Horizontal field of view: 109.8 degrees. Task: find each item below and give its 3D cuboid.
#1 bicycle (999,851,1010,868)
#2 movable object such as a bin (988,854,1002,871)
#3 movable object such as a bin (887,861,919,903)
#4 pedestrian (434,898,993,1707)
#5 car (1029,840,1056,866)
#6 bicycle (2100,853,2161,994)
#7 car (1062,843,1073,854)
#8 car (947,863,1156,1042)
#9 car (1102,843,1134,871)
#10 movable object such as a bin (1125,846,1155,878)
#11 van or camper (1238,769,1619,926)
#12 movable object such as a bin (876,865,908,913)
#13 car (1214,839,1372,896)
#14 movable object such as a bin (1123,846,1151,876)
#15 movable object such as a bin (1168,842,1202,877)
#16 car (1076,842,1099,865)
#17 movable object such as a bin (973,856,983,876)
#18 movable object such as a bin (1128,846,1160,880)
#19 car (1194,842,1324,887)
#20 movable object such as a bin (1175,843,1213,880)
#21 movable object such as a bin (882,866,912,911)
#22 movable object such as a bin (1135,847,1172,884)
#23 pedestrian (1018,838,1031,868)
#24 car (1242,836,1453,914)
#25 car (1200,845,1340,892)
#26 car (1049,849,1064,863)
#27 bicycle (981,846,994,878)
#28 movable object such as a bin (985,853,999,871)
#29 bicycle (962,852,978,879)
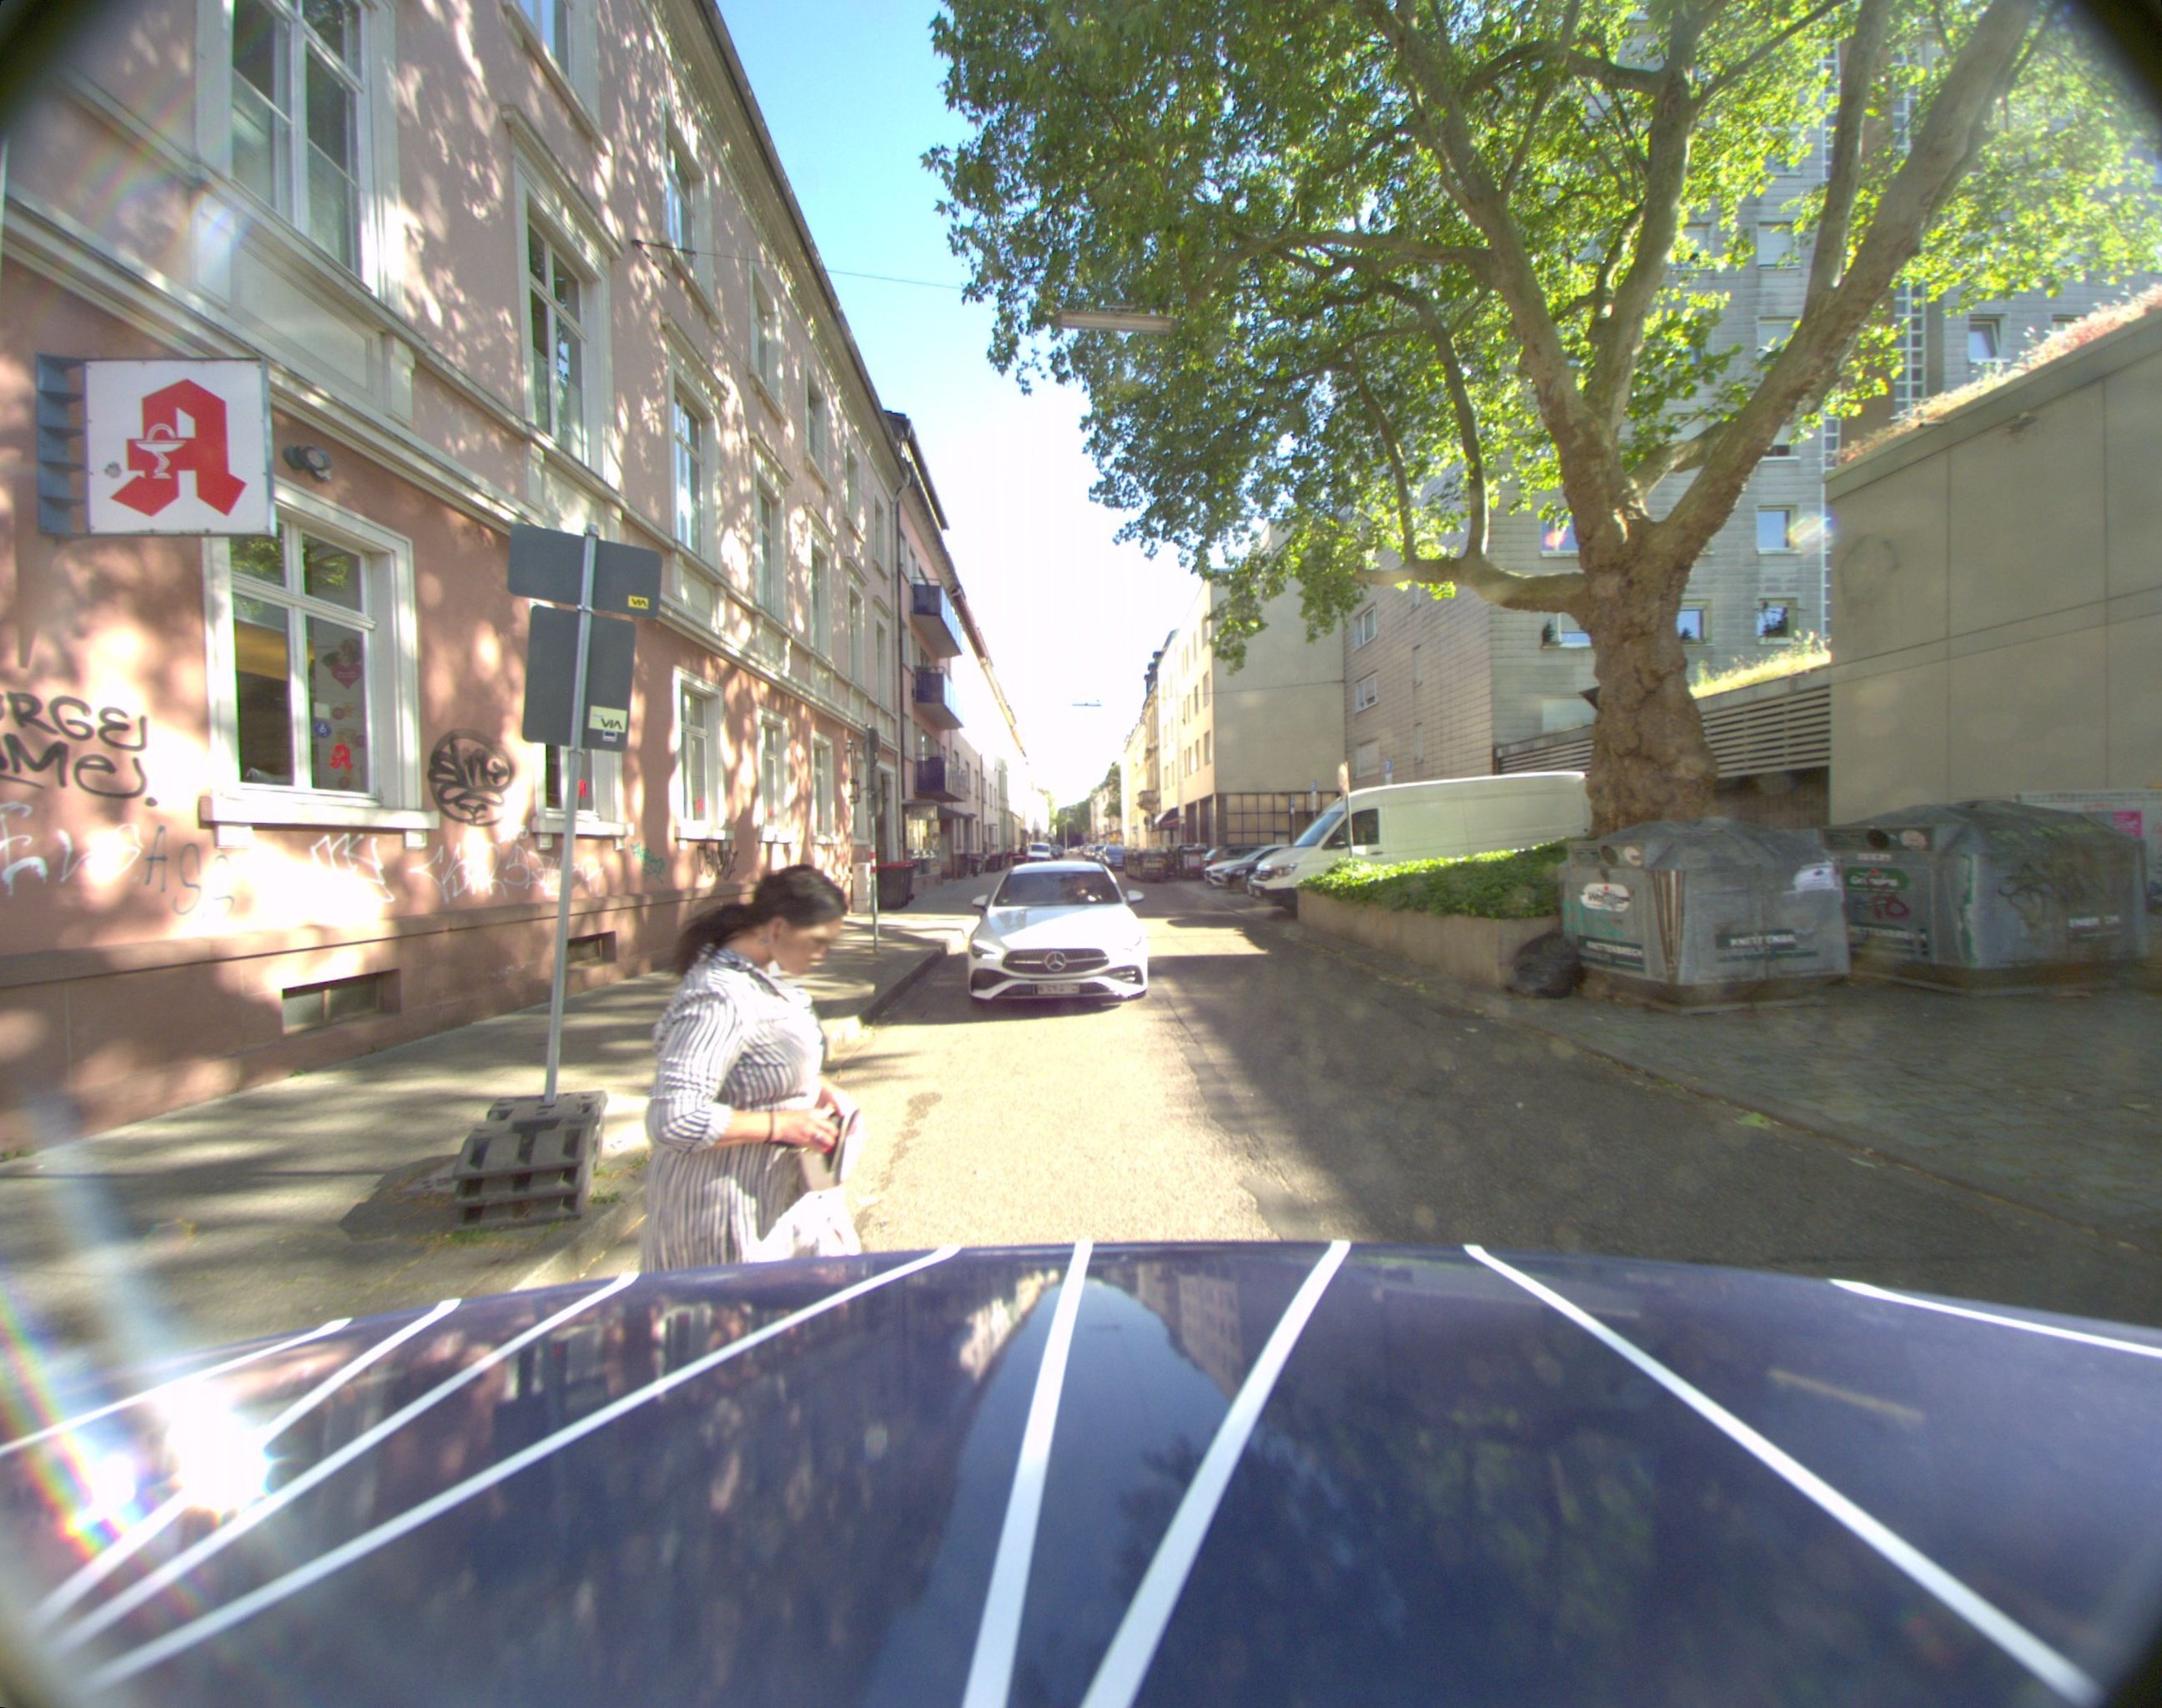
[{"bbox_3d":[-5.238,0.375,52.193,0.490,1.090,1.932,-1,1,0],"label":"bicycle"},{"bbox_3d":[-5.026,0.488,44.432,0.717,0.996,0.546,2,1,-2],"label":"movable object such as a bin"},{"bbox_3d":[-4.783,0.757,20.426,0.718,1.078,0.618,2,1,-2],"label":"movable object such as a bin"},{"bbox_3d":[-0.800,0.932,1.738,0.848,1.564,0.844,3,2,-28],"label":"pedestrian"},{"bbox_3d":[-2.915,-0.099,58.049,1.765,1.843,4.327,-1,1,0],"label":"car"},{"bbox_3d":[9.729,0.576,6.135,0.806,1.146,1.714,-4,1,-32],"label":"bicycle"},{"bbox_3d":[-2.194,-0.825,121.844,1.765,1.698,4.326,-1,1,-1],"label":"car"},{"bbox_3d":[-0.264,0.937,9.242,1.862,1.449,4.562,-2,1,0],"label":"car"},{"bbox_3d":[2.322,0.165,48.657,1.765,1.698,4.327,-1,1,0],"label":"car"},{"bbox_3d":[2.850,0.353,36.763,1.222,1.492,1.559,-1,1,-3],"label":"movable object such as a bin"},{"bbox_3d":[7.039,-0.136,15.923,6.923,2.559,2.000,-4,1,0],"label":"van or camper"},{"bbox_3d":[-4.435,0.817,17.863,0.570,1.078,0.654,2,1,-2],"label":"movable object such as a bin"},{"bbox_3d":[6.548,0.392,23.714,4.417,1.607,1.697,-2,1,-7],"label":"car"},{"bbox_3d":[2.805,0.341,38.359,1.222,1.492,1.559,-1,1,-3],"label":"movable object such as a bin"},{"bbox_3d":[4.541,0.233,33.331,1.222,1.492,1.517,-1,1,-3],"label":"movable object such as a bin"},{"bbox_3d":[0.501,-0.056,59.595,1.765,1.698,4.327,-1,1,0],"label":"car"},{"bbox_3d":[-5.010,0.580,36.876,0.416,0.935,0.302,2,1,-2],"label":"movable object such as a bin"},{"bbox_3d":[2.872,0.403,34.879,1.247,1.492,1.924,-1,1,-3],"label":"movable object such as a bin"},{"bbox_3d":[6.634,0.360,28.524,4.417,1.524,1.698,-2,1,-7],"label":"car"},{"bbox_3d":[4.728,0.284,31.928,1.328,1.492,1.194,-1,1,-3],"label":"movable object such as a bin"},{"bbox_3d":[-4.458,0.823,18.454,0.570,1.052,0.611,2,1,-2],"label":"movable object such as a bin"},{"bbox_3d":[3.086,0.468,32.482,1.241,1.492,1.876,-3,1,-3],"label":"movable object such as a bin"},{"bbox_3d":[-3.859,-0.071,52.055,0.761,2.002,0.771,-1,1,0],"label":"pedestrian"},{"bbox_3d":[6.294,0.468,18.279,4.415,1.525,1.698,-4,1,-1],"label":"car"},{"bbox_3d":[6.481,0.480,26.257,4.417,1.454,1.598,-2,1,-7],"label":"car"},{"bbox_3d":[-3.109,0.180,96.448,1.765,1.698,4.326,-1,1,-1],"label":"car"},{"bbox_3d":[-5.162,0.418,41.882,0.402,1.726,2.106,-1,1,0],"label":"bicycle"},{"bbox_3d":[-5.120,0.475,43.837,0.717,0.996,0.546,2,1,-2],"label":"movable object such as a bin"},{"bbox_3d":[-4.974,0.486,34.125,0.402,1.144,2.024,-1,1,0],"label":"bicycle"}]
